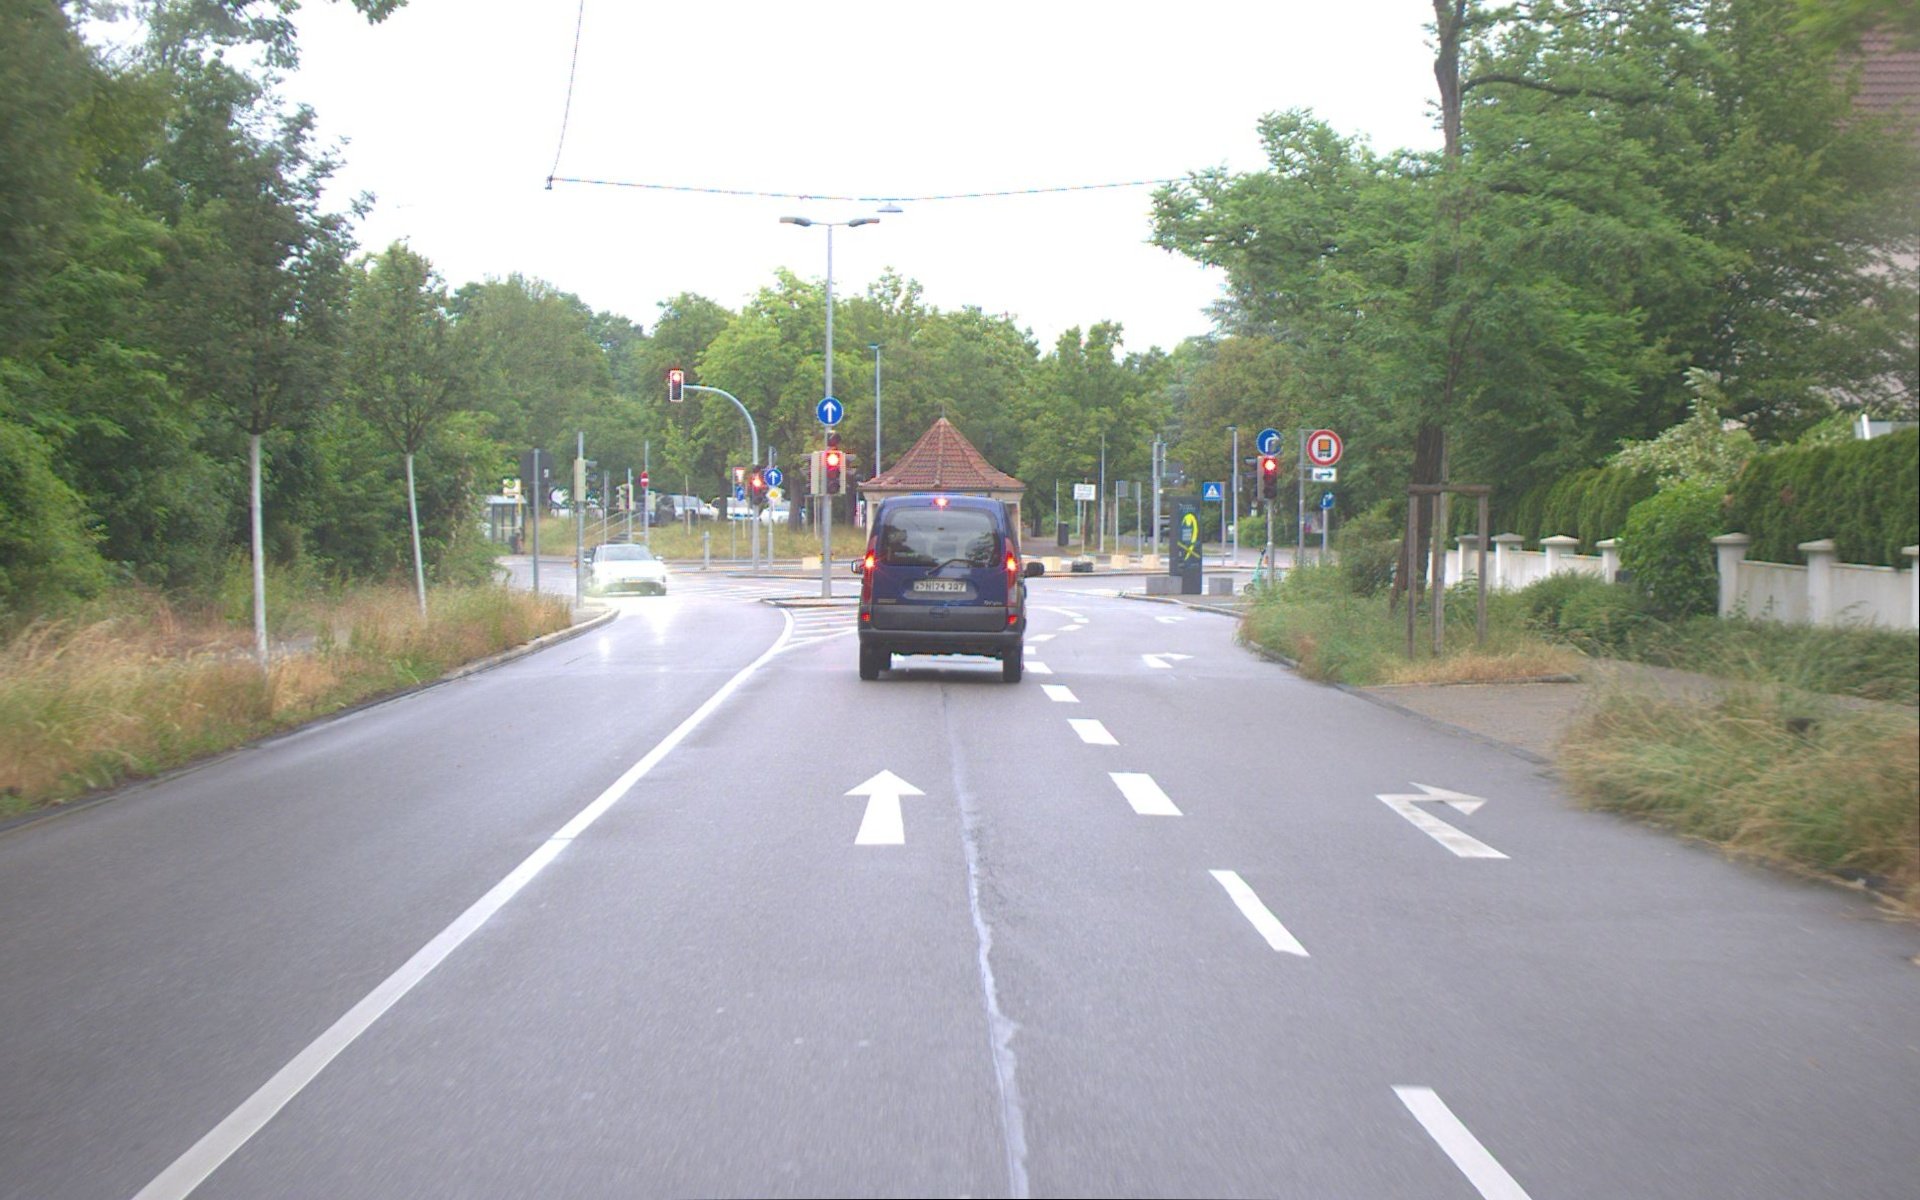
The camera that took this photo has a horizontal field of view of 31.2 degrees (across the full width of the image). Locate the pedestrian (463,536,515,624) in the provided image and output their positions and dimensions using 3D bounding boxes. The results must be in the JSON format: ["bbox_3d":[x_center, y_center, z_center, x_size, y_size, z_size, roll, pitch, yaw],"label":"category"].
[{"bbox_3d":[-10.977,-0.468,80.108,1.088,2.007,1.000,1,0,-4],"label":"pedestrian"}]

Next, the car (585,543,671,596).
[{"bbox_3d":[-8.976,-0.846,92.560,1.993,1.307,4.361,-2,2,-9],"label":"car"}]

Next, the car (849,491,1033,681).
[{"bbox_3d":[-0.213,-0.173,35.073,1.731,1.780,4.000,1,1,-1],"label":"car"}]

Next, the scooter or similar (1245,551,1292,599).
[{"bbox_3d":[7.915,-0.650,88.296,1.149,1.215,0.406,1,0,1],"label":"scooter or similar"}]
